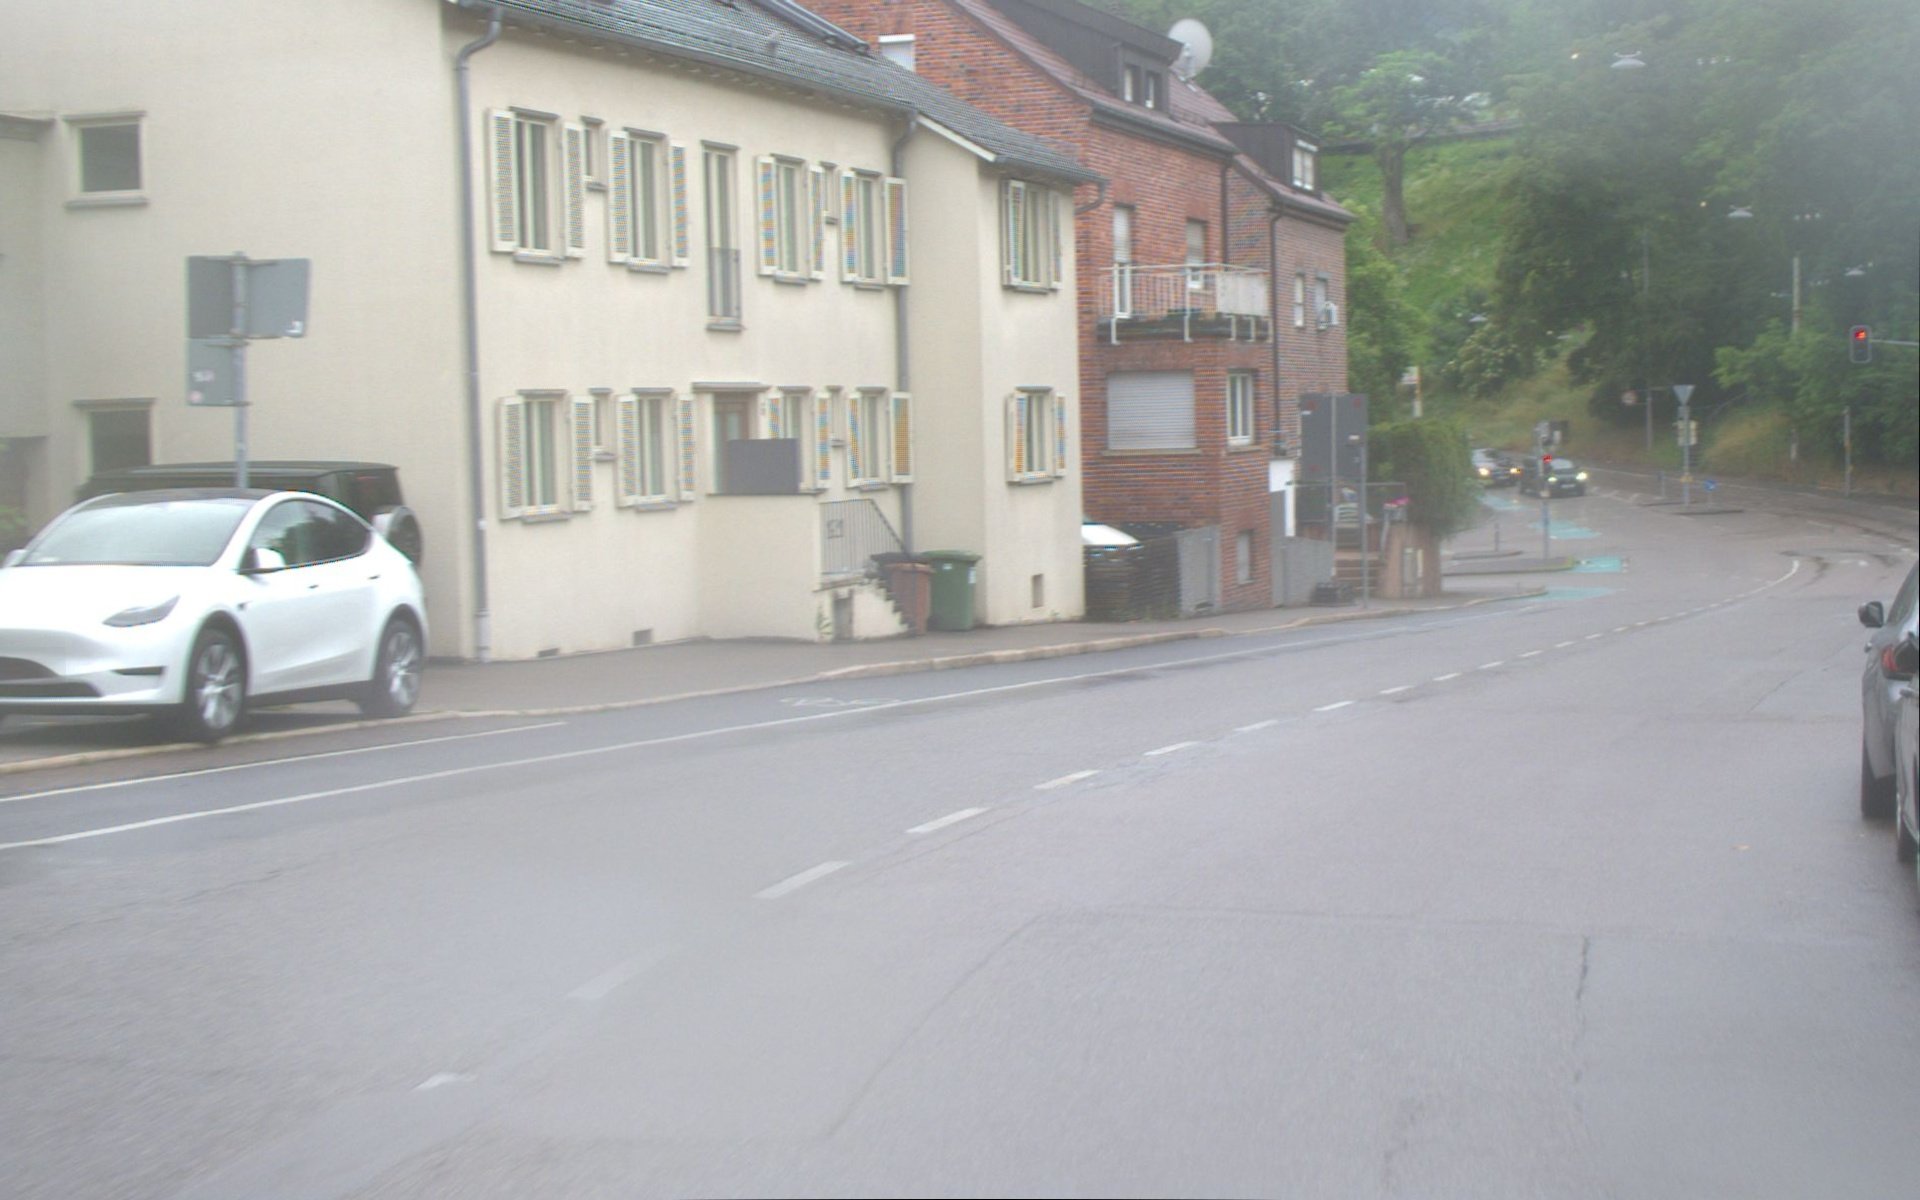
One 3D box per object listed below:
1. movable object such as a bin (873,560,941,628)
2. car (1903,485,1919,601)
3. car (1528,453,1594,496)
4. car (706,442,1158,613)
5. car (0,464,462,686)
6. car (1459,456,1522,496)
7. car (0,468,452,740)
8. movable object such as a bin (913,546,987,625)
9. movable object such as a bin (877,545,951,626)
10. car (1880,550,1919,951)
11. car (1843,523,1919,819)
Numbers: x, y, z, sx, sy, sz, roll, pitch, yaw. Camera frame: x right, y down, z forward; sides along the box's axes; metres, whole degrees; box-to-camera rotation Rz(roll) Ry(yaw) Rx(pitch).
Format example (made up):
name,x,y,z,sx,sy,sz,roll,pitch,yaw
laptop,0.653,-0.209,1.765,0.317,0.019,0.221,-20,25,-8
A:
name,x,y,z,sx,sy,sz,roll,pitch,yaw
movable object such as a bin,-0.675,-0.079,44.041,0.673,0.856,0.708,1,1,18
car,17.582,-0.953,59.039,2.311,1.933,4.321,2,1,20
car,23.147,-4.833,132.609,1.741,1.545,4.001,-4,2,0
car,-0.434,-1.111,53.422,6.660,2.545,2.166,1,0,18
car,-7.201,-0.262,32.660,4.491,2.006,1.887,0,2,15
car,21.430,-5.020,138.948,1.741,1.545,4.001,-2,2,-2
car,-5.220,-0.017,23.128,1.930,1.625,4.675,1,1,14
movable object such as a bin,-0.126,-0.197,45.723,0.782,1.043,0.737,1,1,18
movable object such as a bin,-0.601,-0.192,45.023,0.782,1.043,0.708,1,1,18
car,4.820,0.538,14.576,1.642,1.431,4.171,1,2,13
car,5.967,0.333,19.434,1.790,1.491,4.702,1,1,15
